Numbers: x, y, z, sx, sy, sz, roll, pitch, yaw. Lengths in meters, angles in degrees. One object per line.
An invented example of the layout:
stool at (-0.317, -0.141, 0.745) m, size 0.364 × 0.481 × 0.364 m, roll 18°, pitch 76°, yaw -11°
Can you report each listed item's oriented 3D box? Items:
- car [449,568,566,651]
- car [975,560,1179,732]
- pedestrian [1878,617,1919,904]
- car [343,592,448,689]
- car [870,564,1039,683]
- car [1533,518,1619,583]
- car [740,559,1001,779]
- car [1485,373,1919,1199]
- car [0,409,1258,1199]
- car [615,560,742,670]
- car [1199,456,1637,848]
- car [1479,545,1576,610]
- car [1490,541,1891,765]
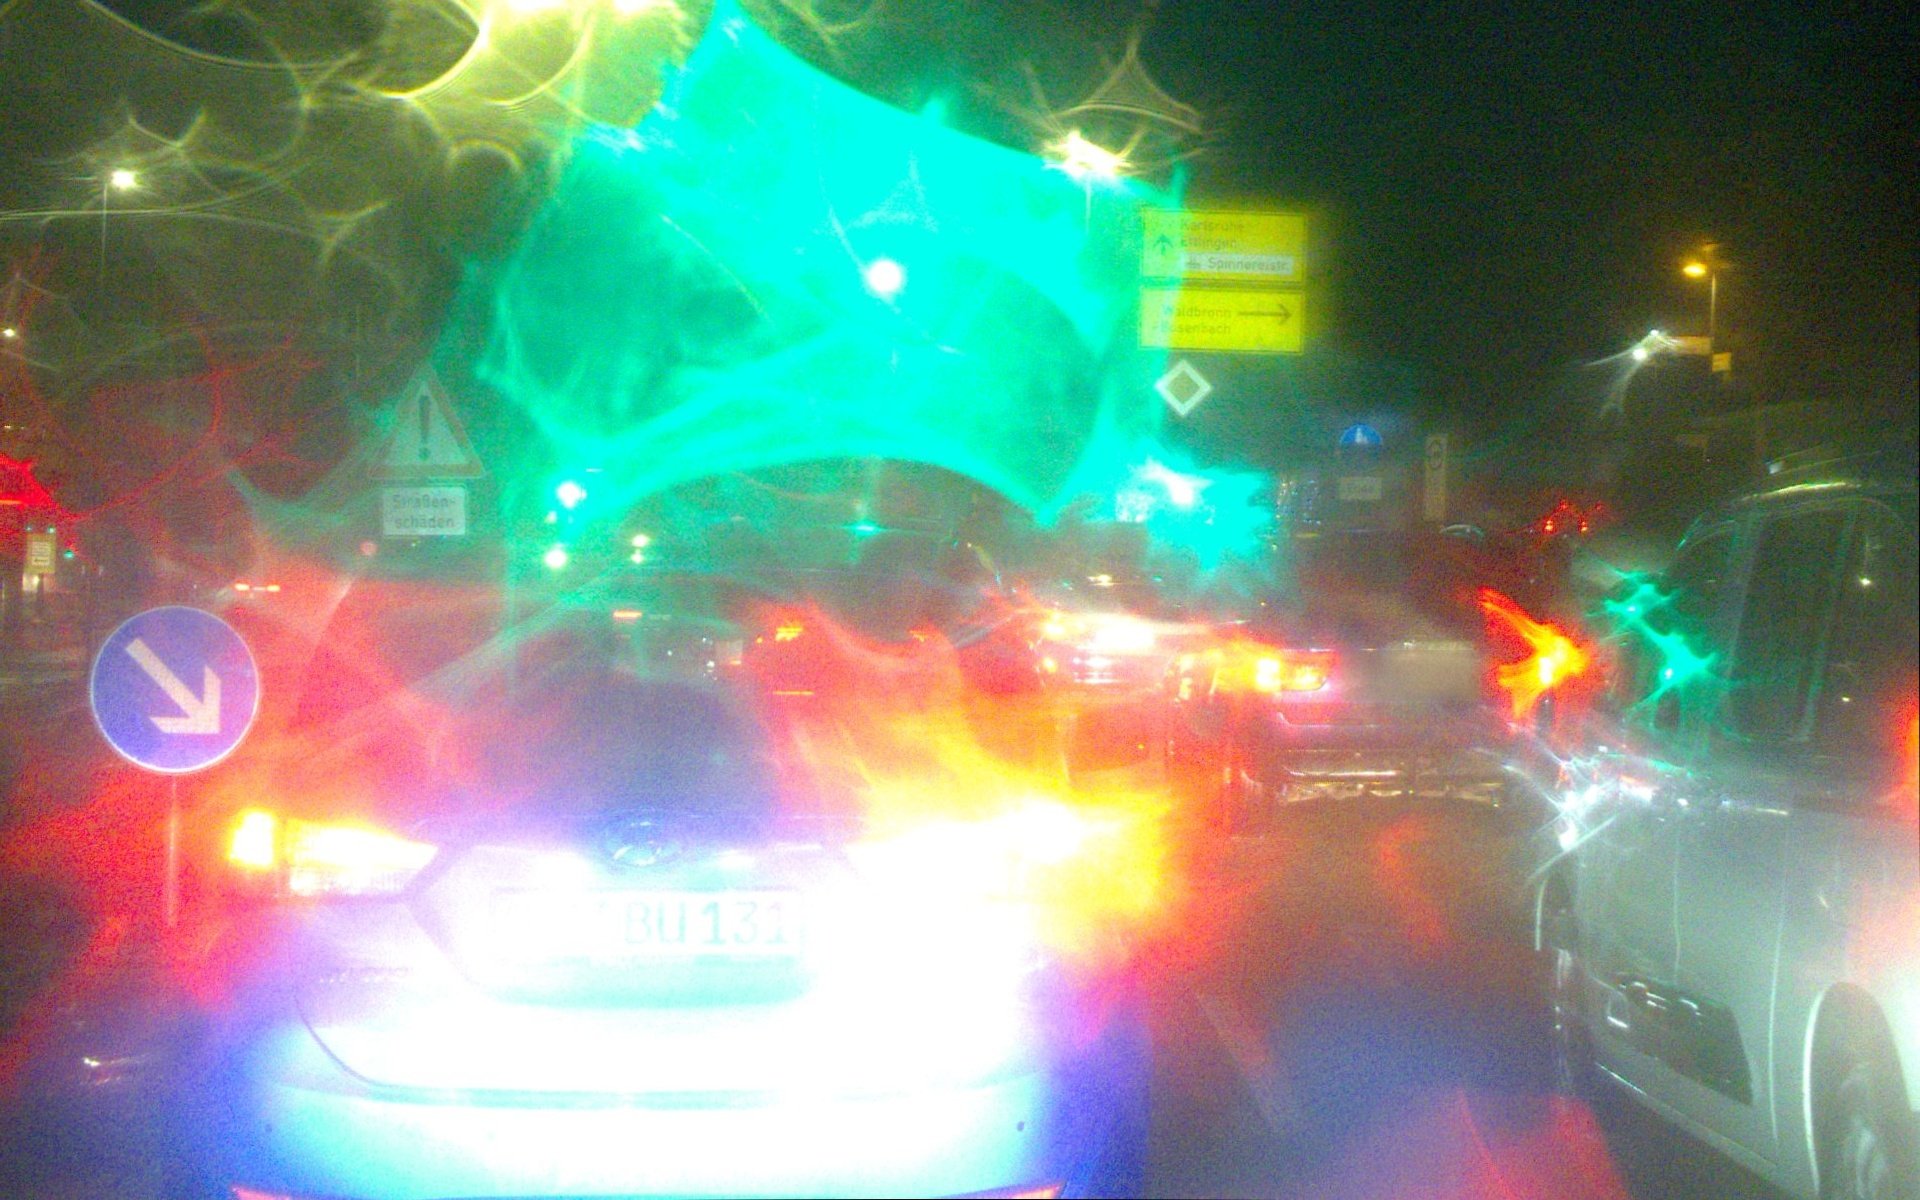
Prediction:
car at (-10.427, 0.207, 79.019) m, size 1.993 × 1.818 × 4.001 m, roll 1°, pitch 0°, yaw -17°
car at (1.201, 0.460, 37.047) m, size 1.993 × 1.712 × 4.000 m, roll 1°, pitch 0°, yaw -1°
pedestrian at (6.063, 0.962, 20.628) m, size 0.864 × 1.696 × 0.619 m, roll 1°, pitch 0°, yaw -32°
car at (-12.596, 0.865, 76.497) m, size 2.014 × 1.880 × 4.453 m, roll 2°, pitch 2°, yaw -12°
car at (-0.124, 0.323, 51.084) m, size 1.993 × 1.664 × 4.001 m, roll 1°, pitch 0°, yaw -7°
car at (20.035, -1.592, 111.901) m, size 1.993 × 2.007 × 4.000 m, roll 1°, pitch 0°, yaw -1°
car at (-0.721, 0.528, 28.737) m, size 1.993 × 1.678 × 4.000 m, roll 1°, pitch 0°, yaw -1°
car at (2.450, 0.569, 7.534) m, size 1.851 × 1.858 × 4.341 m, roll 1°, pitch 0°, yaw -1°
car at (-0.647, 0.558, 7.775) m, size 2.014 × 1.711 × 4.452 m, roll 1°, pitch 0°, yaw -3°
car at (-4.937, 0.238, 59.934) m, size 1.993 × 1.818 × 4.001 m, roll 1°, pitch 0°, yaw -7°
car at (2.575, 0.268, 20.272) m, size 1.968 × 2.040 × 4.000 m, roll 1°, pitch 0°, yaw -1°
car at (14.962, -0.591, 90.858) m, size 1.865 × 1.641 × 3.963 m, roll -1°, pitch 0°, yaw 0°
car at (5.041, 0.304, 24.289) m, size 1.784 × 1.437 × 4.238 m, roll 0°, pitch 1°, yaw -2°
